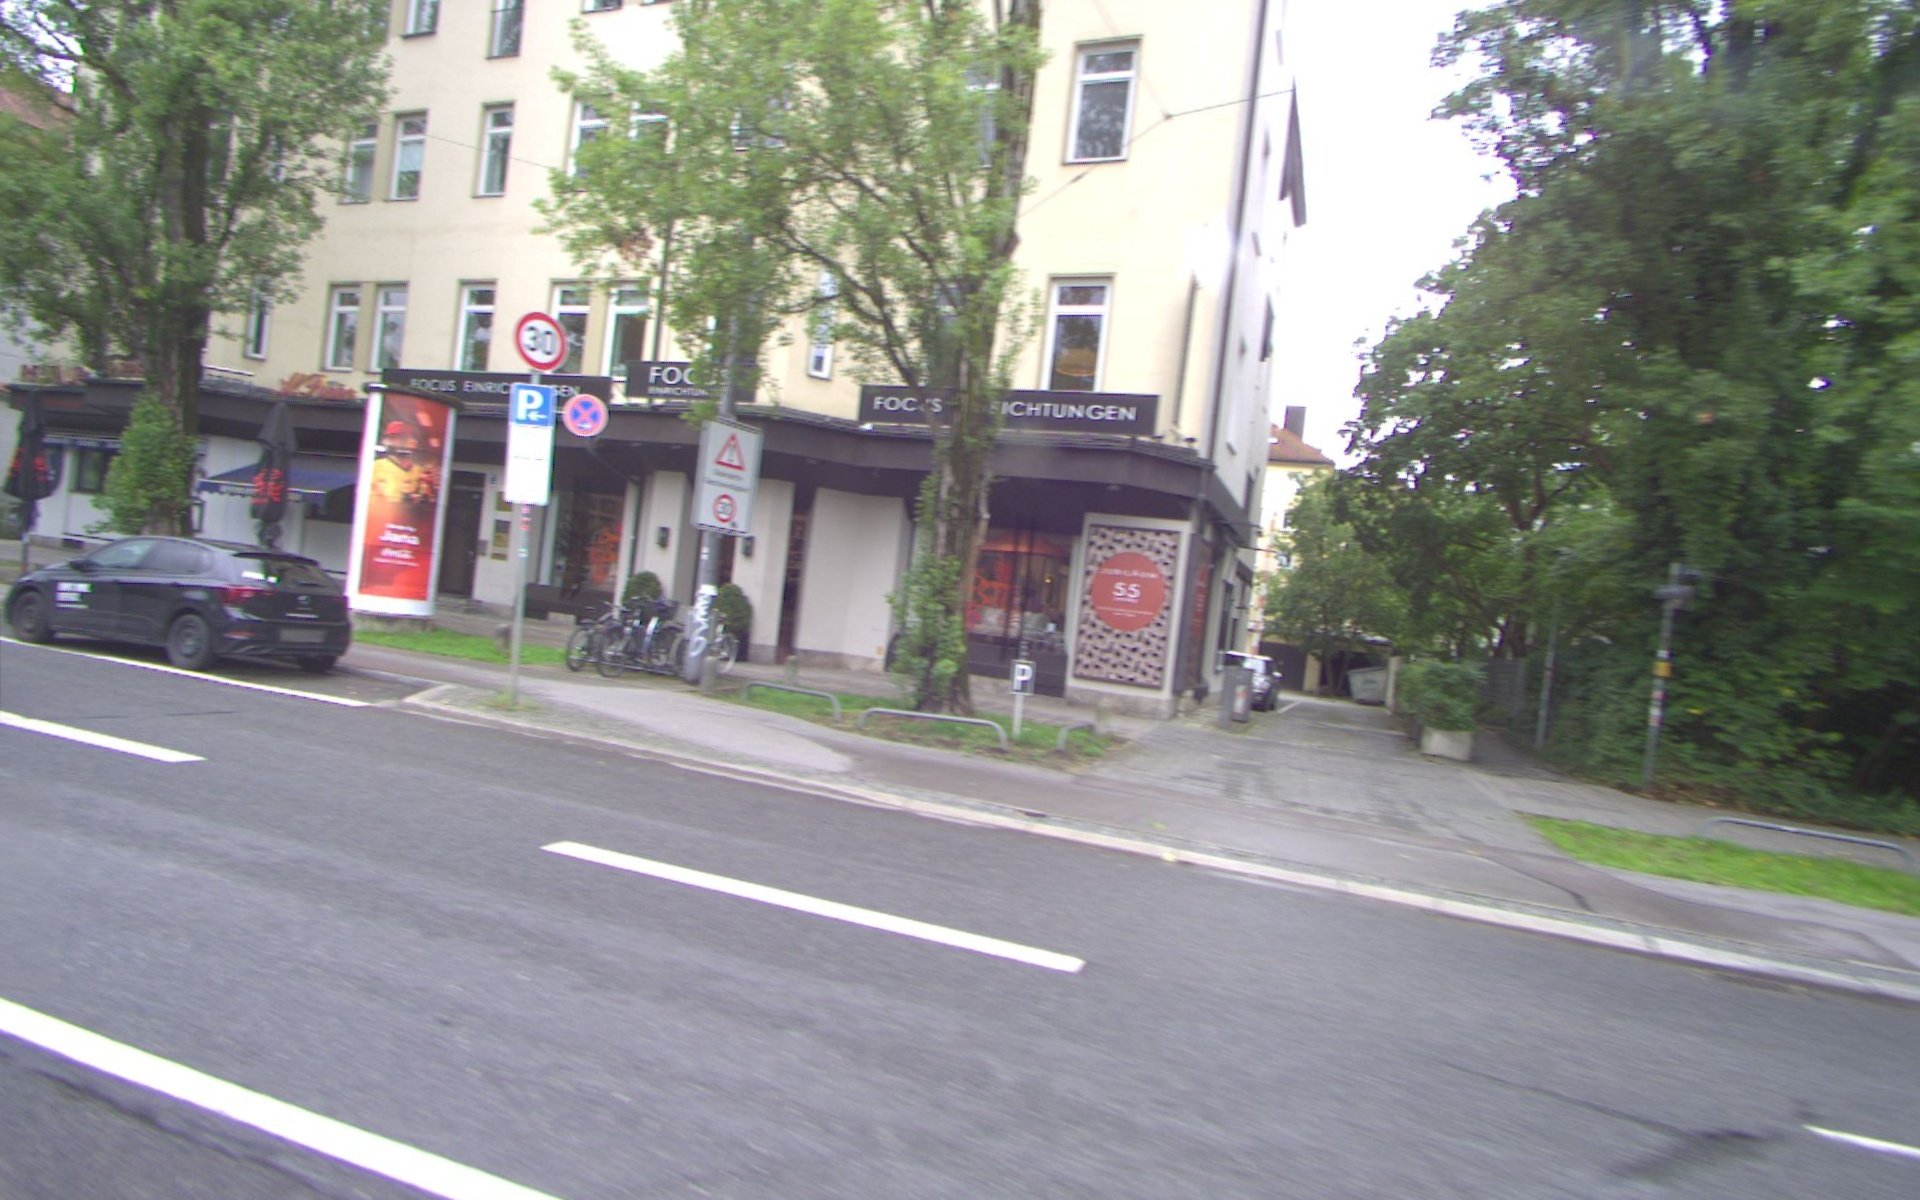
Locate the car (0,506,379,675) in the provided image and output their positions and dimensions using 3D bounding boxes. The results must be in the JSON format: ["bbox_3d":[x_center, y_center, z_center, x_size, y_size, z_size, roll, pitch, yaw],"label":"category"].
[{"bbox_3d":[-9.297,-0.111,11.985,3.924,1.483,1.806,7,-1,17],"label":"car"}]

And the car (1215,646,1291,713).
[{"bbox_3d":[7.918,2.092,27.178,1.698,1.459,4.001,7,-1,17],"label":"car"}]

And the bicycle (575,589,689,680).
[{"bbox_3d":[-4.793,0.519,14.833,0.487,1.199,1.890,7,0,17],"label":"bicycle"}]

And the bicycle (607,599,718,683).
[{"bbox_3d":[-4.297,0.603,14.700,0.487,1.095,1.890,7,0,17],"label":"bicycle"}]

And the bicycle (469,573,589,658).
[{"bbox_3d":[-6.643,0.267,15.624,0.487,1.199,1.890,7,0,17],"label":"bicycle"}]

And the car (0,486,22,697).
[{"bbox_3d":[-9.551,-0.381,7.284,4.614,1.568,1.870,7,0,16],"label":"car"}]

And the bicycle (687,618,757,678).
[{"bbox_3d":[-3.851,0.783,16.375,0.381,0.894,1.372,7,0,17],"label":"bicycle"}]

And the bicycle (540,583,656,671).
[{"bbox_3d":[-5.406,0.428,15.147,0.487,1.199,1.890,7,0,17],"label":"bicycle"}]
